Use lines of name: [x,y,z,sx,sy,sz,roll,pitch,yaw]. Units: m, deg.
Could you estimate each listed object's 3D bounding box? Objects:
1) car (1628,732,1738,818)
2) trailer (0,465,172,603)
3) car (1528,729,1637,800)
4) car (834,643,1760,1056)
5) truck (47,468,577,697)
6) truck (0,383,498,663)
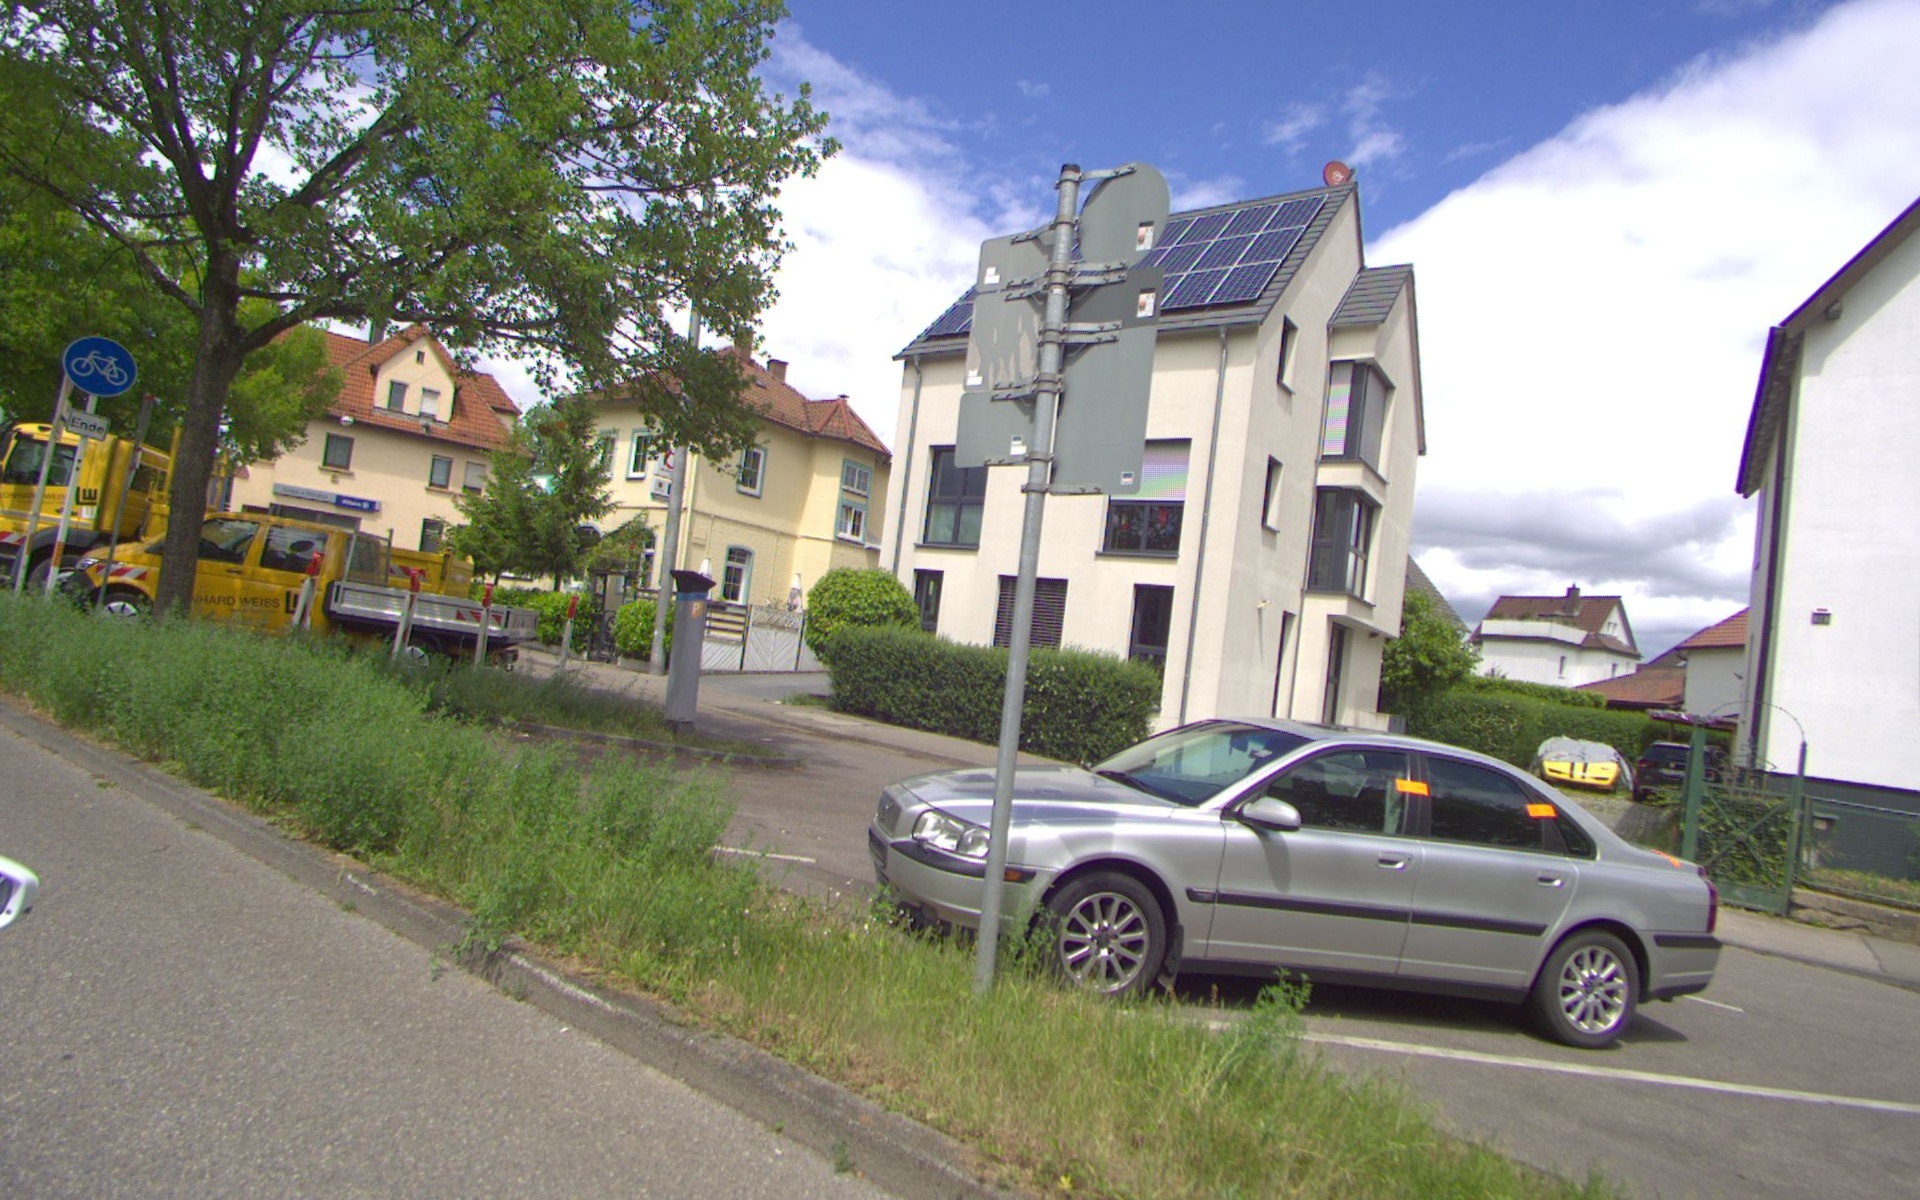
car: [18.242,4.373,25.449,1.969,1.658,3.993,7,-3,36]
trailer: [-18.130,-1.357,19.778,5.424,2.053,2.395,6,-4,34]
car: [16.961,4.431,27.332,1.969,1.347,3.990,11,0,38]
car: [1.800,1.344,5.630,4.621,1.467,1.764,10,-4,-16]
truck: [-8.569,-0.097,13.968,5.589,2.033,1.999,10,-5,-12]
truck: [-11.449,-1.002,16.161,6.611,3.037,2.765,10,-5,-17]
